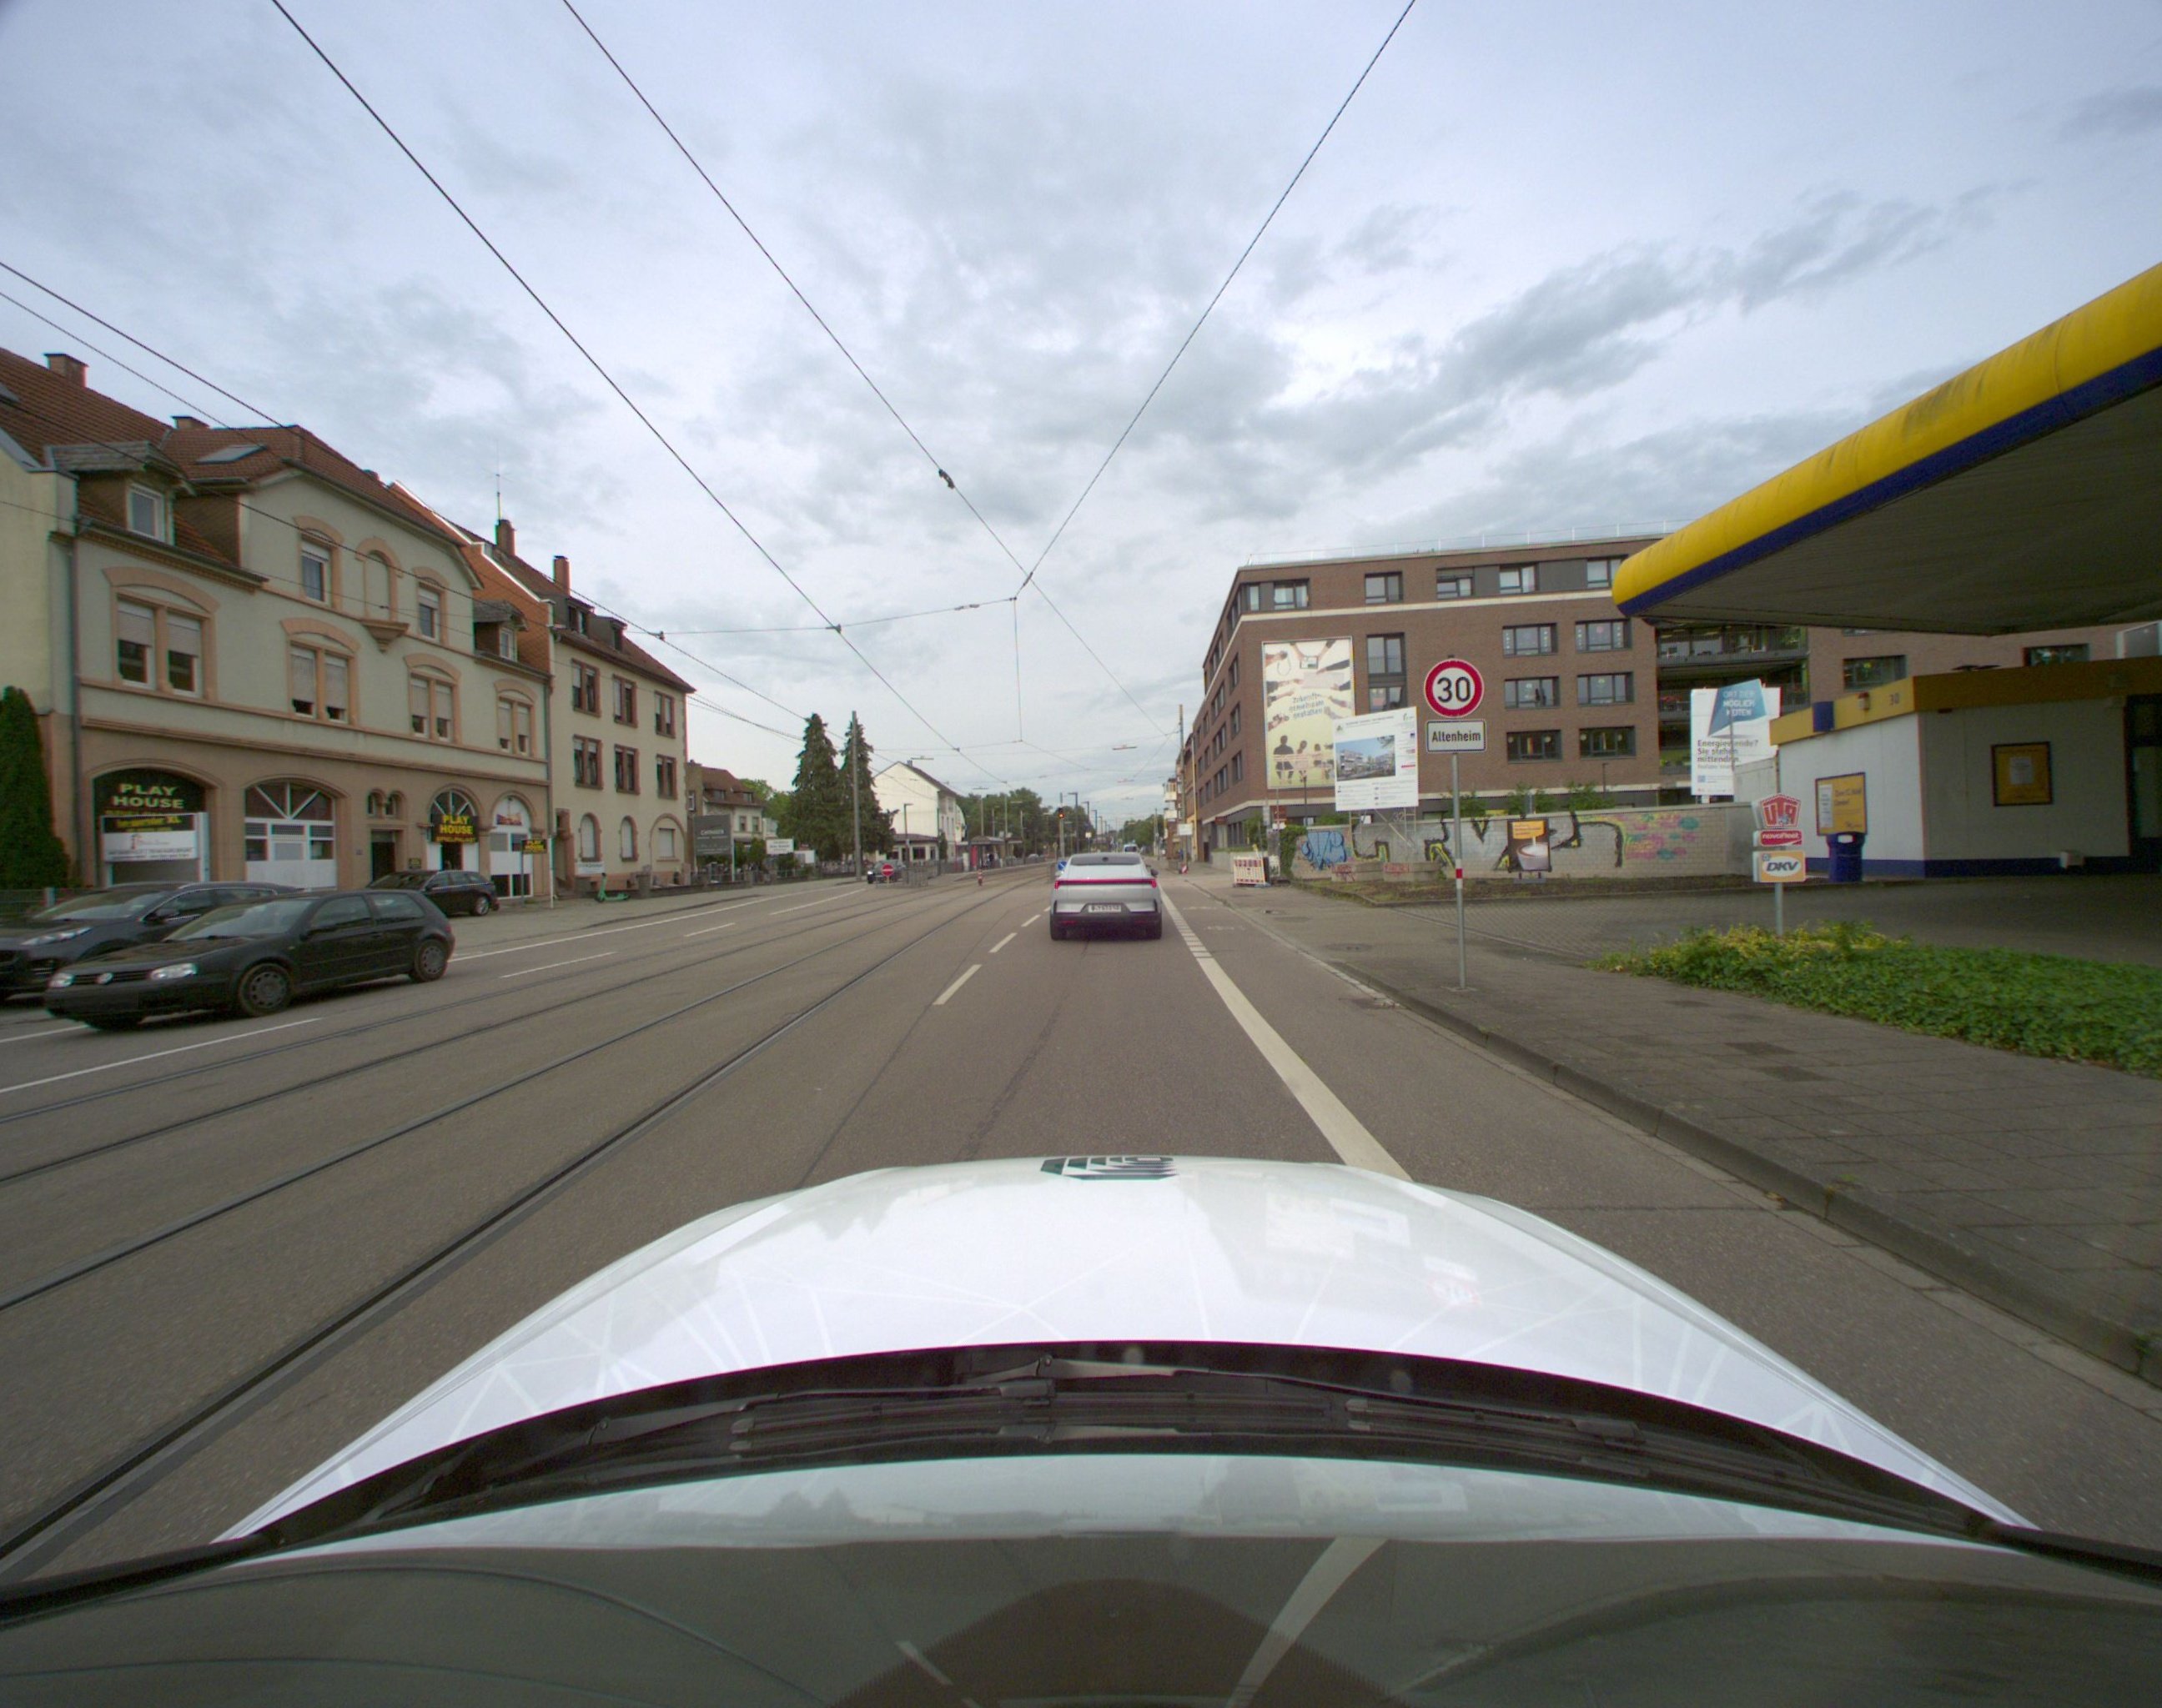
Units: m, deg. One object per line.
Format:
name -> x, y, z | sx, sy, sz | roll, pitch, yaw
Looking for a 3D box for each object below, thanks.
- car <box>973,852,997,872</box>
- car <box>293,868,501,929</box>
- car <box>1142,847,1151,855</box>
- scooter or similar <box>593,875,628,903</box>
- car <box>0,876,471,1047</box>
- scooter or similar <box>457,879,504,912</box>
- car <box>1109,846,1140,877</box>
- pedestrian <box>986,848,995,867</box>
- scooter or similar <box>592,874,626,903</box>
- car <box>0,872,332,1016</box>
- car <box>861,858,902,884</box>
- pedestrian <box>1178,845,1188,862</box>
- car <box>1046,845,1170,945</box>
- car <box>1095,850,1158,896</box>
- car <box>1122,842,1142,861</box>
car -> -10.543, 0.851, 89.558 | 1.877, 1.988, 4.528 | -3, 0, 2
car -> -19.796, 1.213, 23.933 | 1.988, 1.493, 4.900 | -2, 0, -1
car -> 20.583, -1.010, 255.853 | 2.795, 2.505, 5.728 | -1, 0, 4
scooter or similar -> -19.159, 1.407, 33.172 | 1.182, 1.102, 0.523 | -1, -1, -30
car -> -10.231, 1.158, 10.447 | 1.787, 1.530, 4.135 | -4, 0, -4
scooter or similar -> -20.402, 1.414, 27.691 | 1.172, 1.102, 0.527 | 1, -1, -5
car -> 2.528, 0.411, 46.736 | 1.673, 1.687, 3.828 | -1, 0, 4
pedestrian -> -8.192, 0.294, 73.412 | 0.612, 1.664, 0.699 | -1, -1, 7
scooter or similar -> -19.474, 1.415, 33.632 | 1.182, 1.102, 0.523 | -1, -1, -30
car -> -15.014, 1.248, 13.009 | 2.032, 1.749, 4.529 | 0, 1, -3
car -> -12.686, 1.021, 52.064 | 1.903, 1.472, 4.808 | -3, 0, -7
pedestrian -> 11.629, -0.110, 92.400 | 0.955, 1.850, 0.978 | -4, 1, 9
car -> 0.419, 0.680, 15.290 | 1.993, 1.581, 3.998 | -1, 0, -1
car -> 1.588, 0.630, 28.722 | 1.986, 1.419, 4.003 | -3, 0, 2
car -> 6.557, -0.274, 105.021 | 2.218, 2.402, 5.123 | -1, 0, 0
